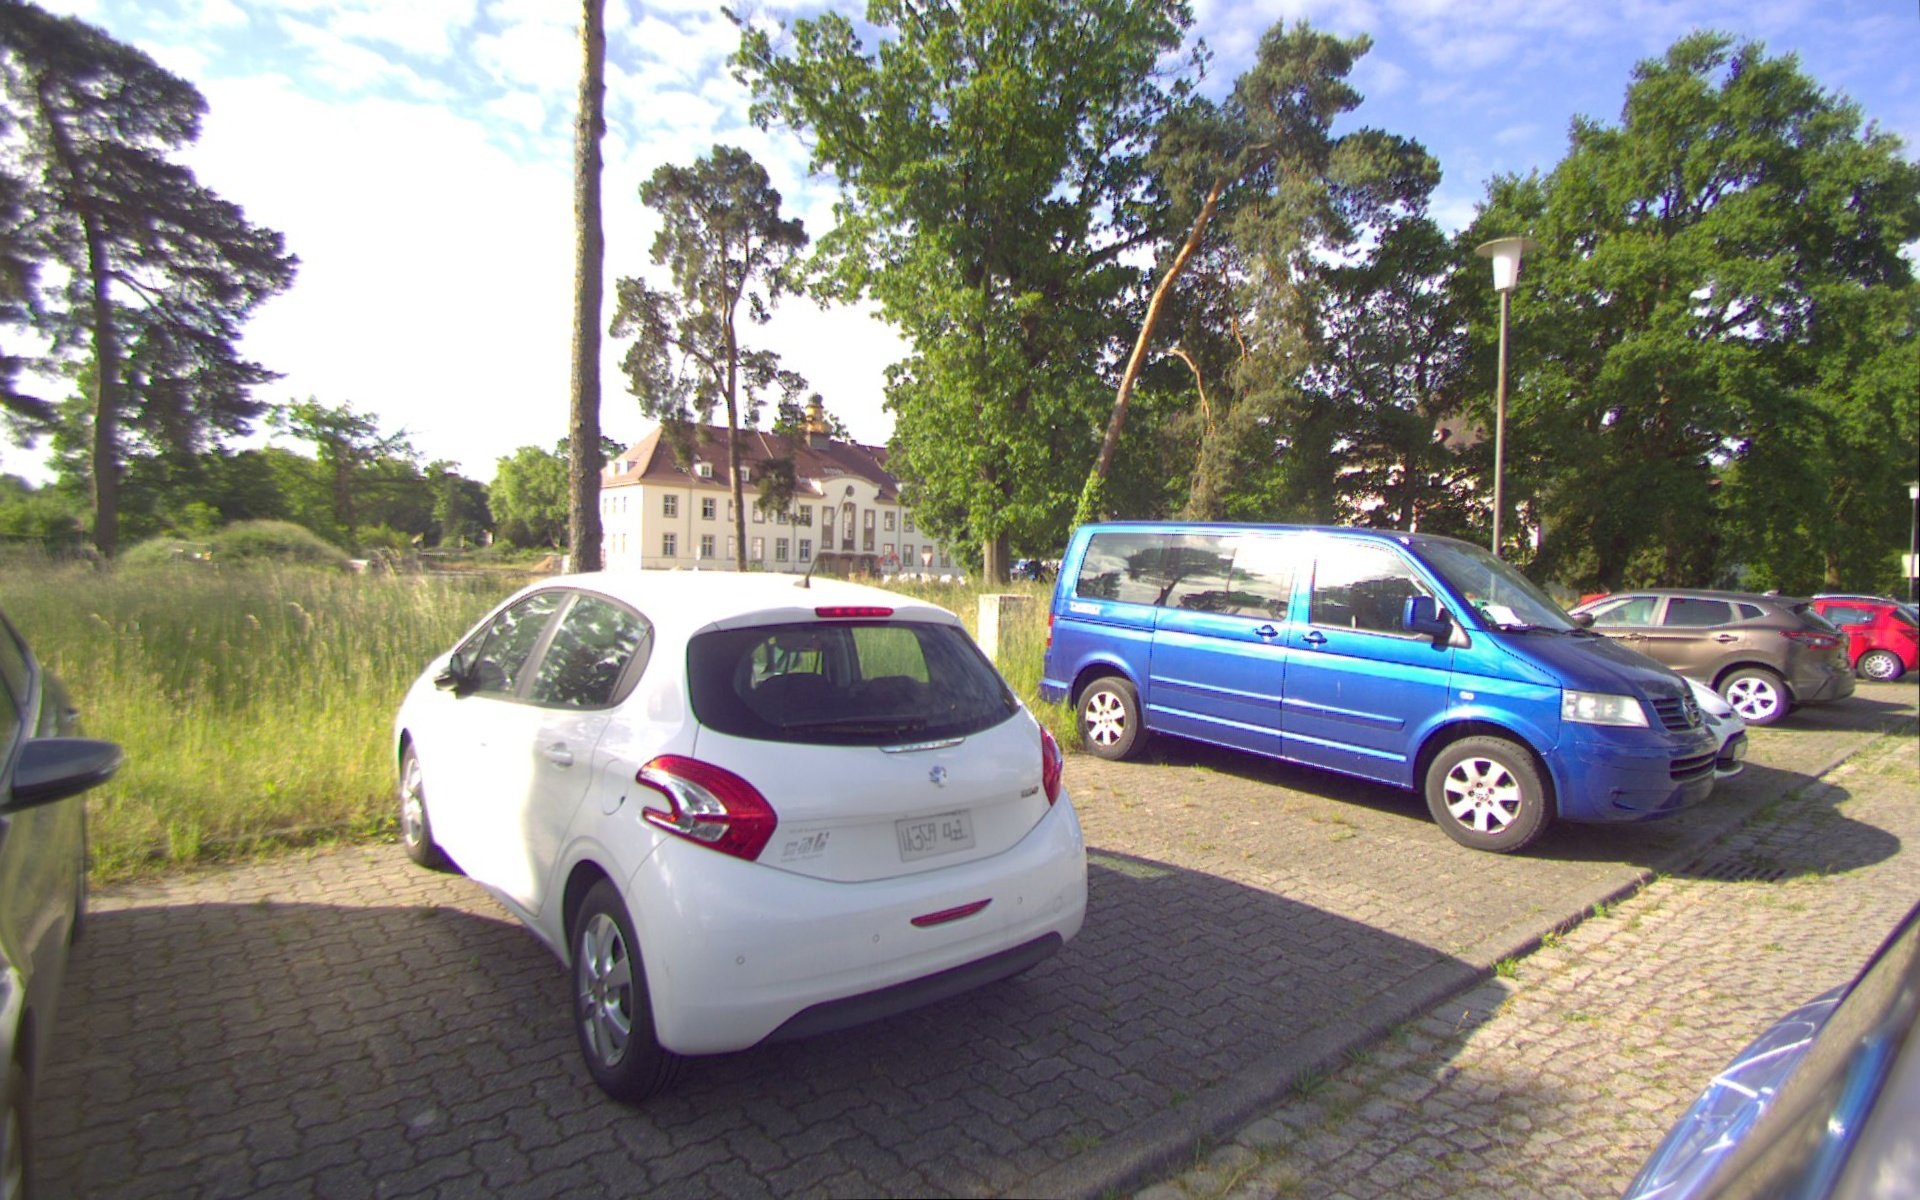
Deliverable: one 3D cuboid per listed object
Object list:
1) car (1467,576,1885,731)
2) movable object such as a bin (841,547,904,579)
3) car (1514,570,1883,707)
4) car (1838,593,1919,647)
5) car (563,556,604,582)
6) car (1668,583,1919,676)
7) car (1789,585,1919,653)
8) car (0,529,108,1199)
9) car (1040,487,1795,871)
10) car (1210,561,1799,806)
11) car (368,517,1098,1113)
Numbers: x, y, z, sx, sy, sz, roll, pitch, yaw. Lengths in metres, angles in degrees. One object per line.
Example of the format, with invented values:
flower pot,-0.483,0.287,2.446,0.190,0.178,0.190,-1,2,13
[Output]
car,9.359,0.547,13.502,1.902,1.617,4.232,-1,3,-43
movable object such as a bin,-9.405,-3.959,109.017,6.338,3.342,2.862,0,0,7
car,11.145,0.452,15.512,1.902,1.617,4.233,-1,4,-43
car,28.434,0.643,29.454,1.754,1.440,4.096,1,3,-41
car,-34.912,-2.832,93.768,1.967,2.240,4.423,-1,0,-44
car,16.958,0.531,20.339,1.821,1.477,4.096,1,3,-41
car,24.727,0.530,26.708,1.821,1.576,4.096,1,3,-41
car,-2.989,0.576,2.077,1.823,1.466,3.717,1,3,-39
car,2.984,0.260,7.577,1.965,1.959,4.709,0,3,-40
car,4.772,0.528,9.456,1.905,1.596,4.408,0,3,-40
car,-1.362,0.455,4.617,1.729,1.553,3.717,1,3,-39
